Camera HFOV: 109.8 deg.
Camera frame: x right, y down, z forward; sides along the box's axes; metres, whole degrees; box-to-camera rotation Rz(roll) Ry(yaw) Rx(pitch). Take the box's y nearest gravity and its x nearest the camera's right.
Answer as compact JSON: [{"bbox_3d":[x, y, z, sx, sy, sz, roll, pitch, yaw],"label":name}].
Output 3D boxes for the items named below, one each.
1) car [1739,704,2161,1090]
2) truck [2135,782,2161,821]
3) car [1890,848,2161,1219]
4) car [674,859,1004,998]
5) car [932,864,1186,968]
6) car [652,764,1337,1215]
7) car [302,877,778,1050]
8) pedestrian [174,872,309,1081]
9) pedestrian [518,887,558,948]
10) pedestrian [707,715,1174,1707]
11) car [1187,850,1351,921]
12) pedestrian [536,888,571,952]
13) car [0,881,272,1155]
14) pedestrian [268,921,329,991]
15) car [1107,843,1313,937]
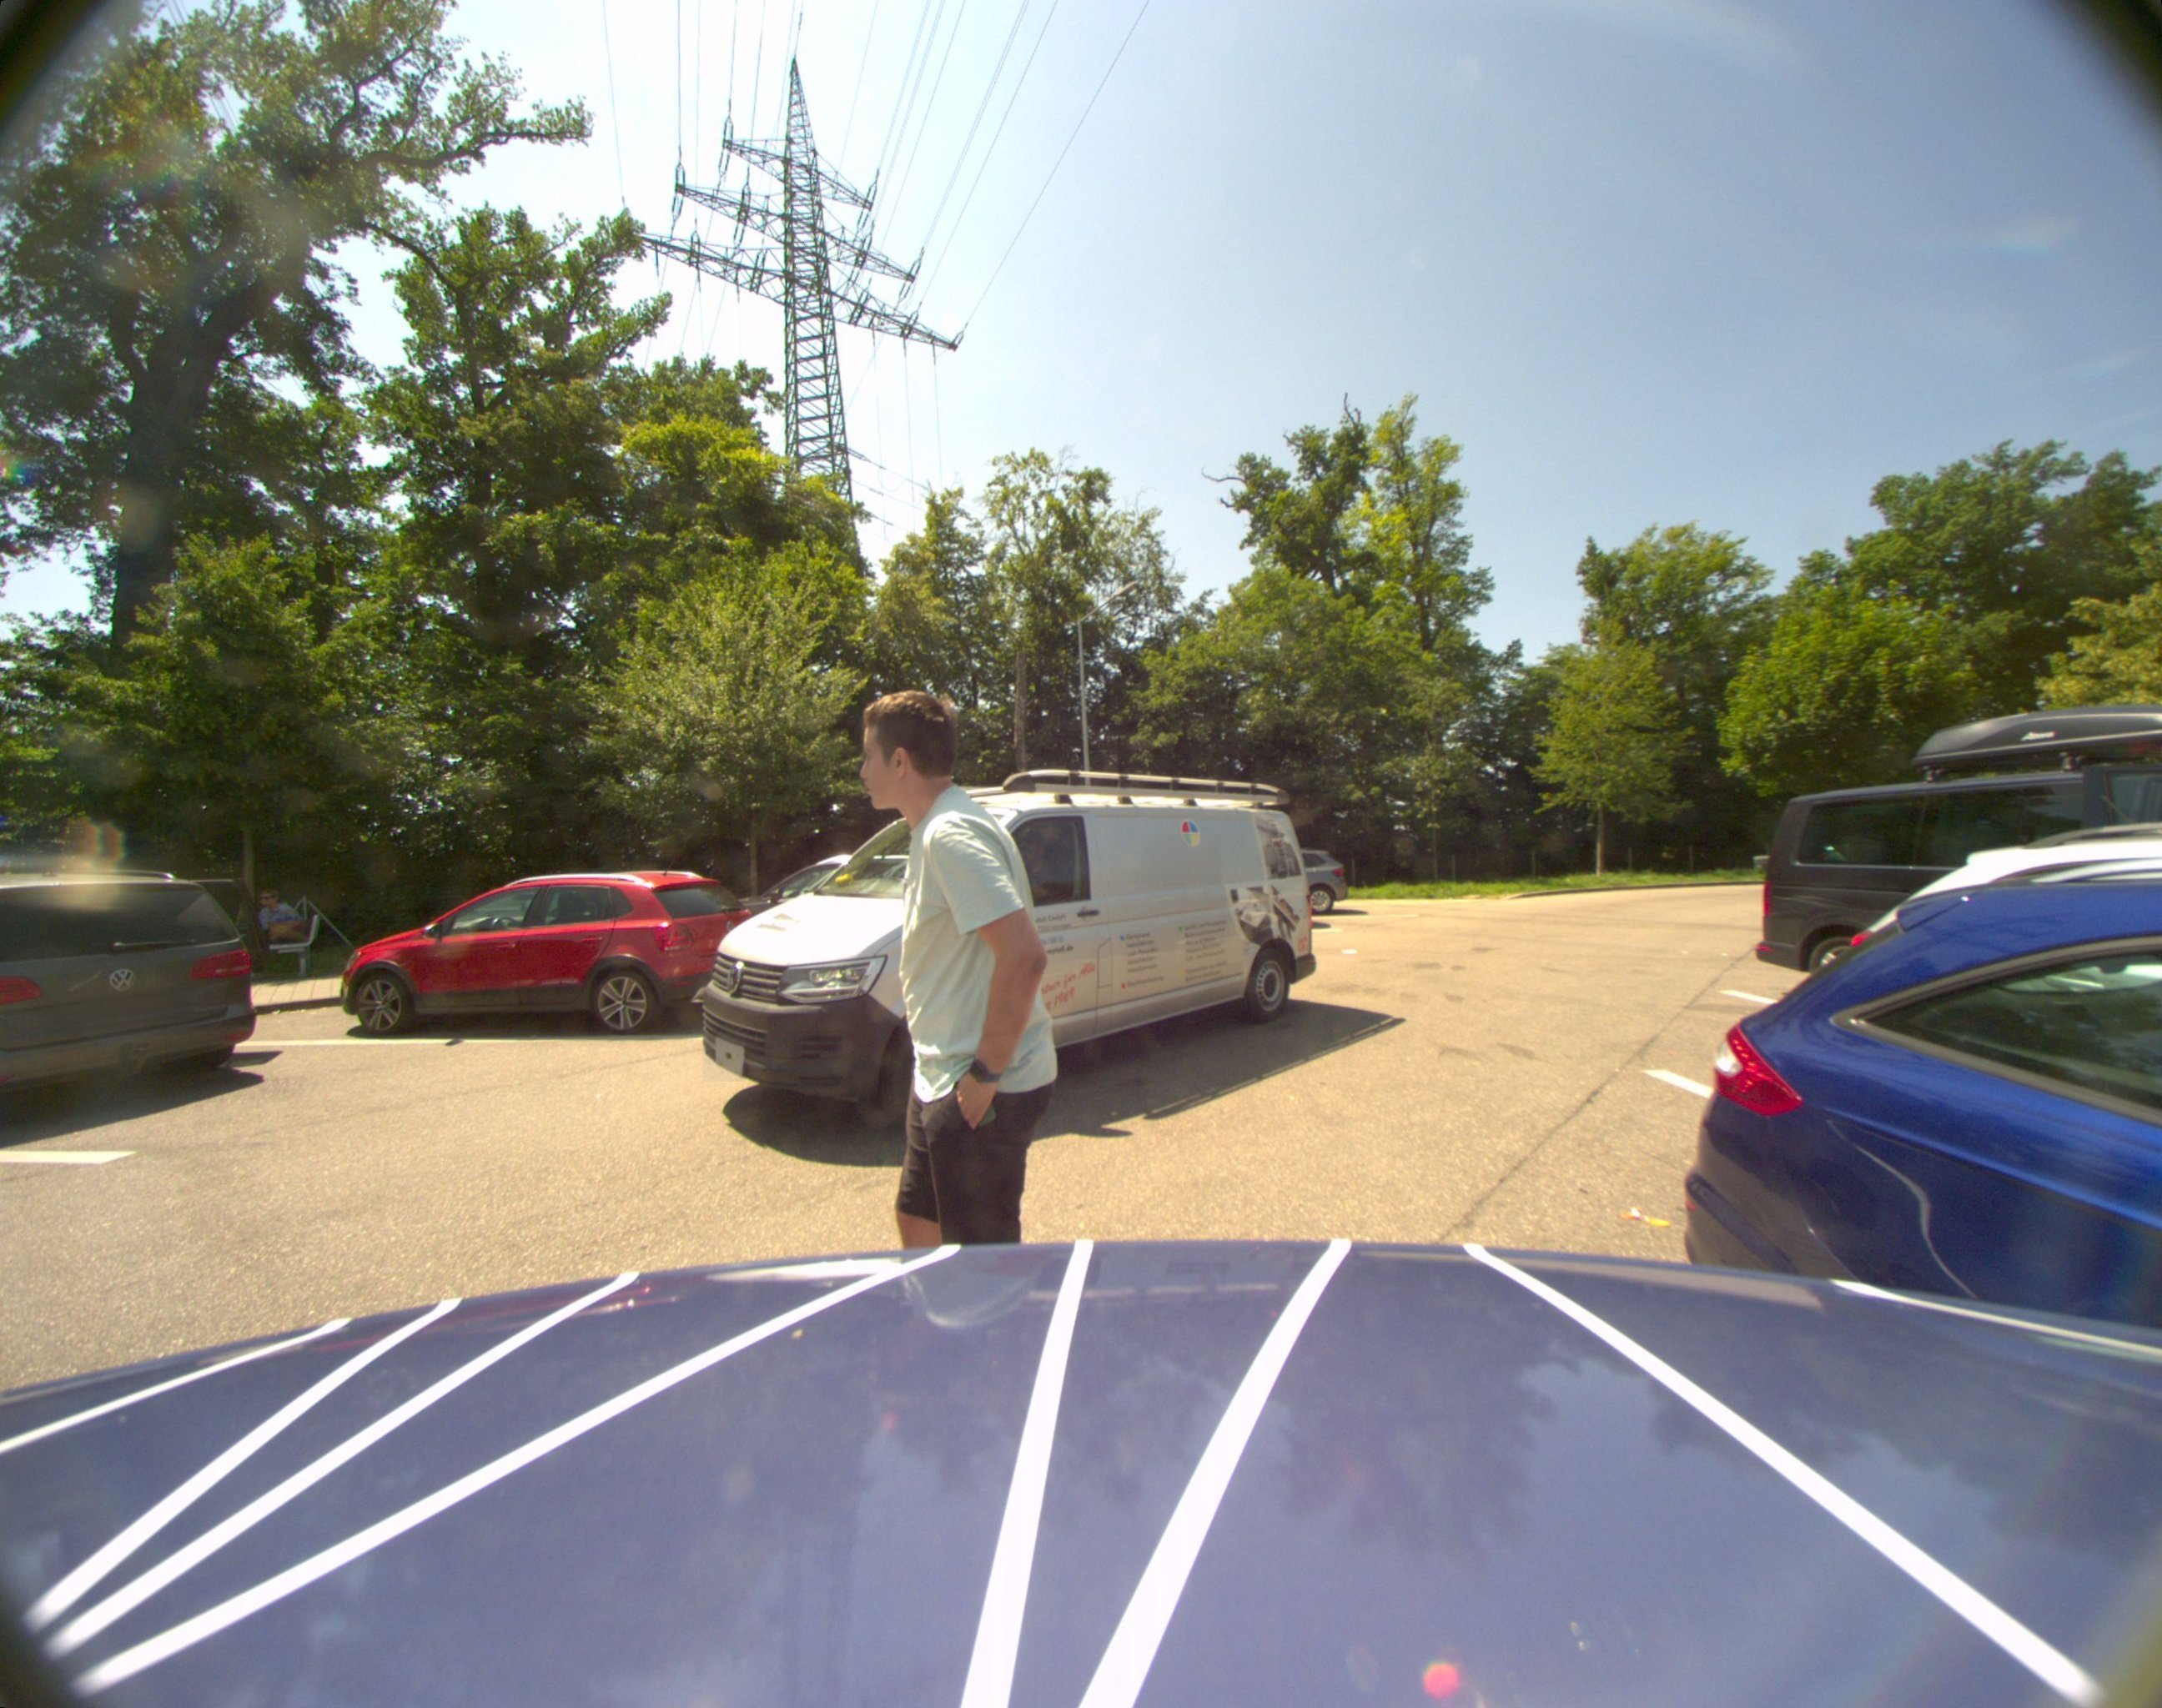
[{"bbox_3d":[7.279,0.241,5.173,1.788,2.304,4.084,-2,0,-5],"label":"car"},{"bbox_3d":[40.276,-1.967,27.123,1.168,1.367,2.882,-2,-1,-19],"label":"truck"},{"bbox_3d":[4.683,0.663,2.207,1.344,1.352,3.114,-2,0,1],"label":"car"},{"bbox_3d":[-3.103,0.940,10.311,3.866,1.607,1.709,-2,0,0],"label":"car"},{"bbox_3d":[-0.284,0.948,12.285,3.773,1.445,1.848,-2,0,4],"label":"car"},{"bbox_3d":[-0.113,0.594,6.083,5.445,2.092,1.839,-1,1,-45],"label":"car"},{"bbox_3d":[-5.276,1.038,7.671,3.745,1.458,1.621,-2,0,7],"label":"car"},{"bbox_3d":[-7.366,1.037,6.682,0.481,1.712,0.589,-2,1,22],"label":"pedestrian"},{"bbox_3d":[-10.979,1.280,15.375,0.413,1.186,0.443,-2,1,12],"label":"pedestrian"},{"bbox_3d":[-0.299,0.694,1.684,0.738,1.818,0.615,-2,0,35],"label":"pedestrian"},{"bbox_3d":[4.363,0.726,18.134,3.585,1.493,1.707,-2,1,7],"label":"car"},{"bbox_3d":[-10.103,1.255,14.556,0.366,1.186,0.356,-2,1,21],"label":"pedestrian"},{"bbox_3d":[-8.436,1.095,5.453,3.903,1.607,1.705,-2,1,11],"label":"car"},{"bbox_3d":[-10.810,1.393,10.511,0.503,0.873,0.512,-3,-1,-39],"label":"pedestrian"},{"bbox_3d":[2.513,0.699,15.381,3.850,1.678,1.755,-2,0,4],"label":"car"}]
